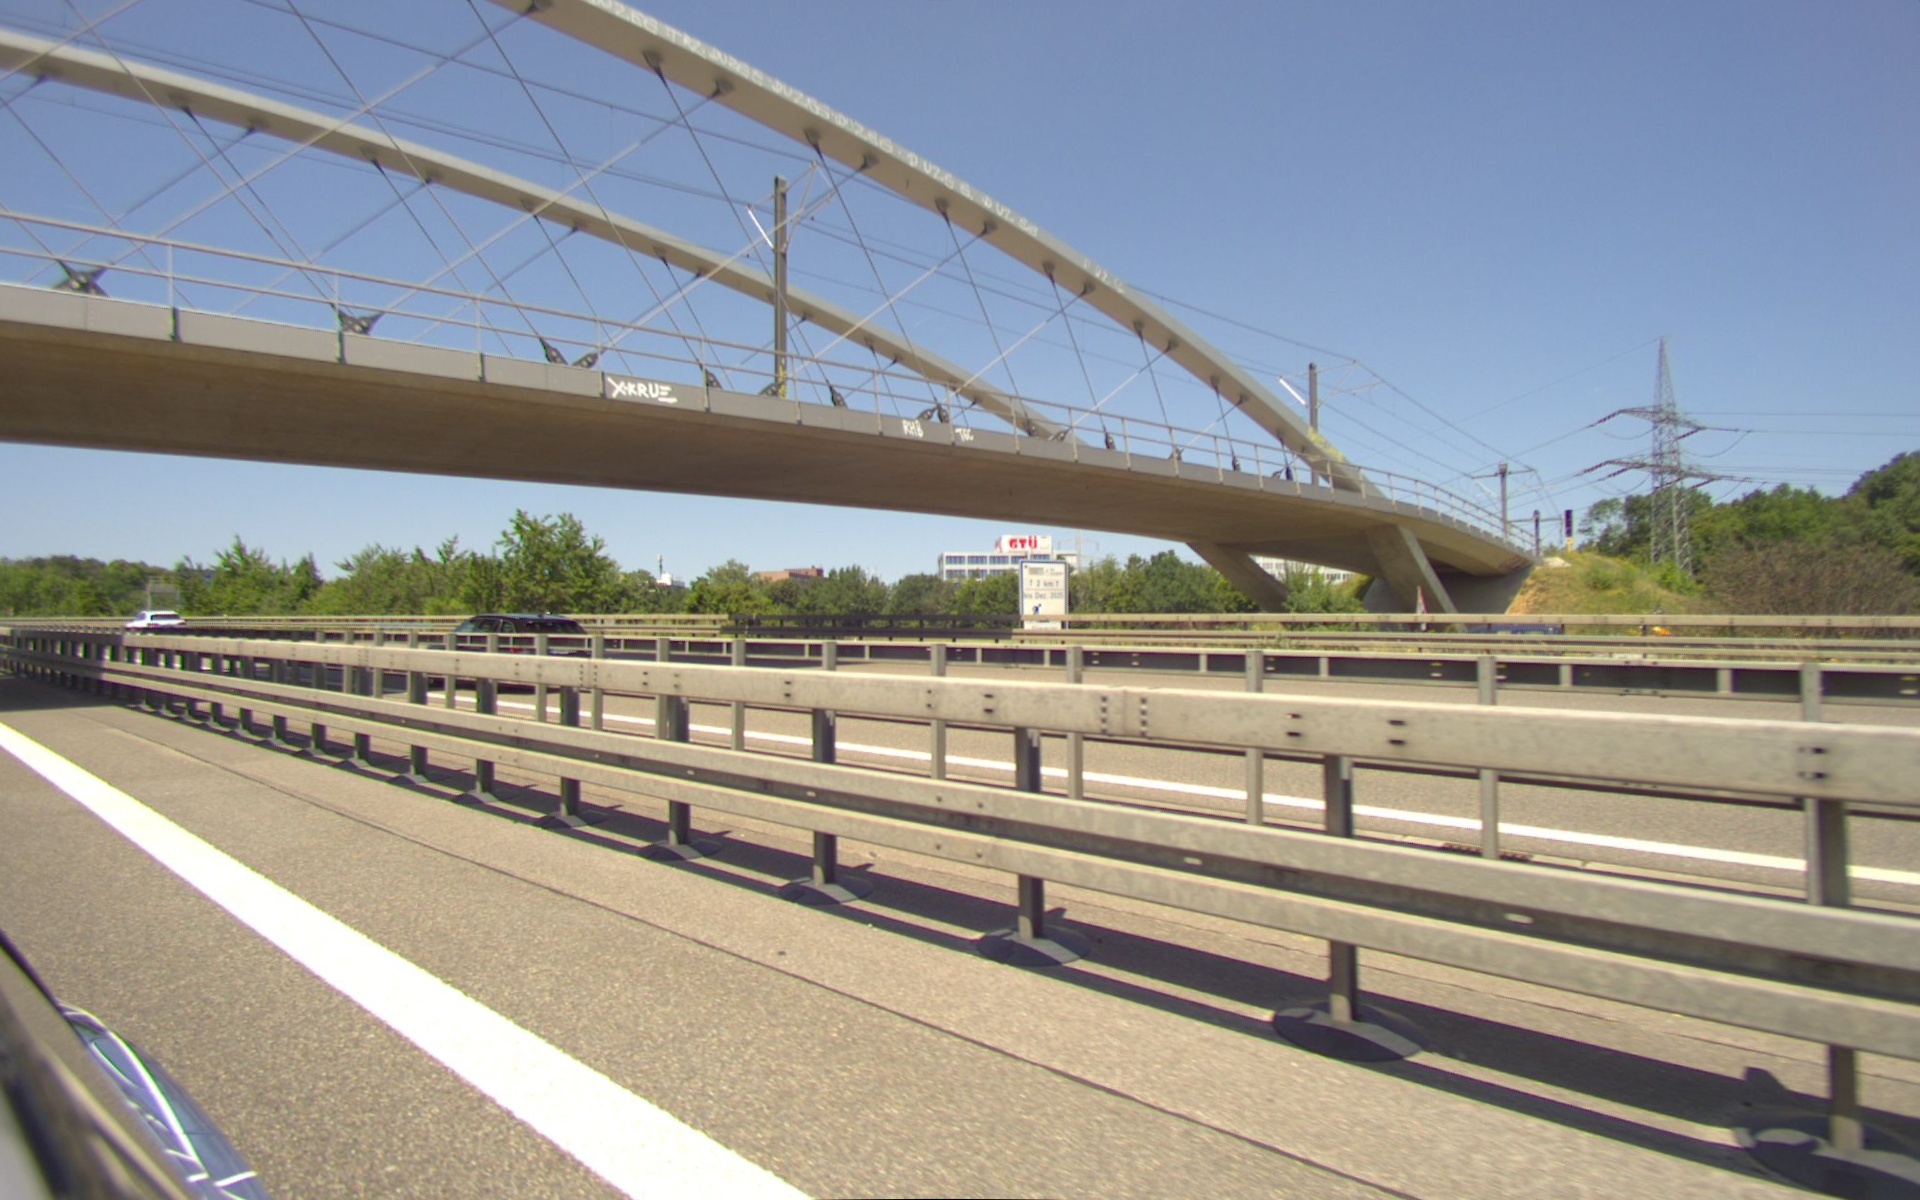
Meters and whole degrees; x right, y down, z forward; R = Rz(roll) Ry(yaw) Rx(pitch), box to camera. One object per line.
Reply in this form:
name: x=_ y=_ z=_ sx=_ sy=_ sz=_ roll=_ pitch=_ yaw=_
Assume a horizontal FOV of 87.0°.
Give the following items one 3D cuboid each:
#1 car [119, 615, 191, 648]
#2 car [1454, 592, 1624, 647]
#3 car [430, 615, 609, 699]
car: x=-42.194 y=1.629 z=52.998 sx=4.971 sy=1.651 sz=1.909 roll=-1 pitch=-1 yaw=39
car: x=18.177 y=0.607 z=31.877 sx=4.321 sy=1.630 sz=1.972 roll=-1 pitch=-1 yaw=42
car: x=-8.482 y=1.012 z=19.330 sx=4.099 sy=1.422 sz=1.613 roll=-1 pitch=-1 yaw=42
